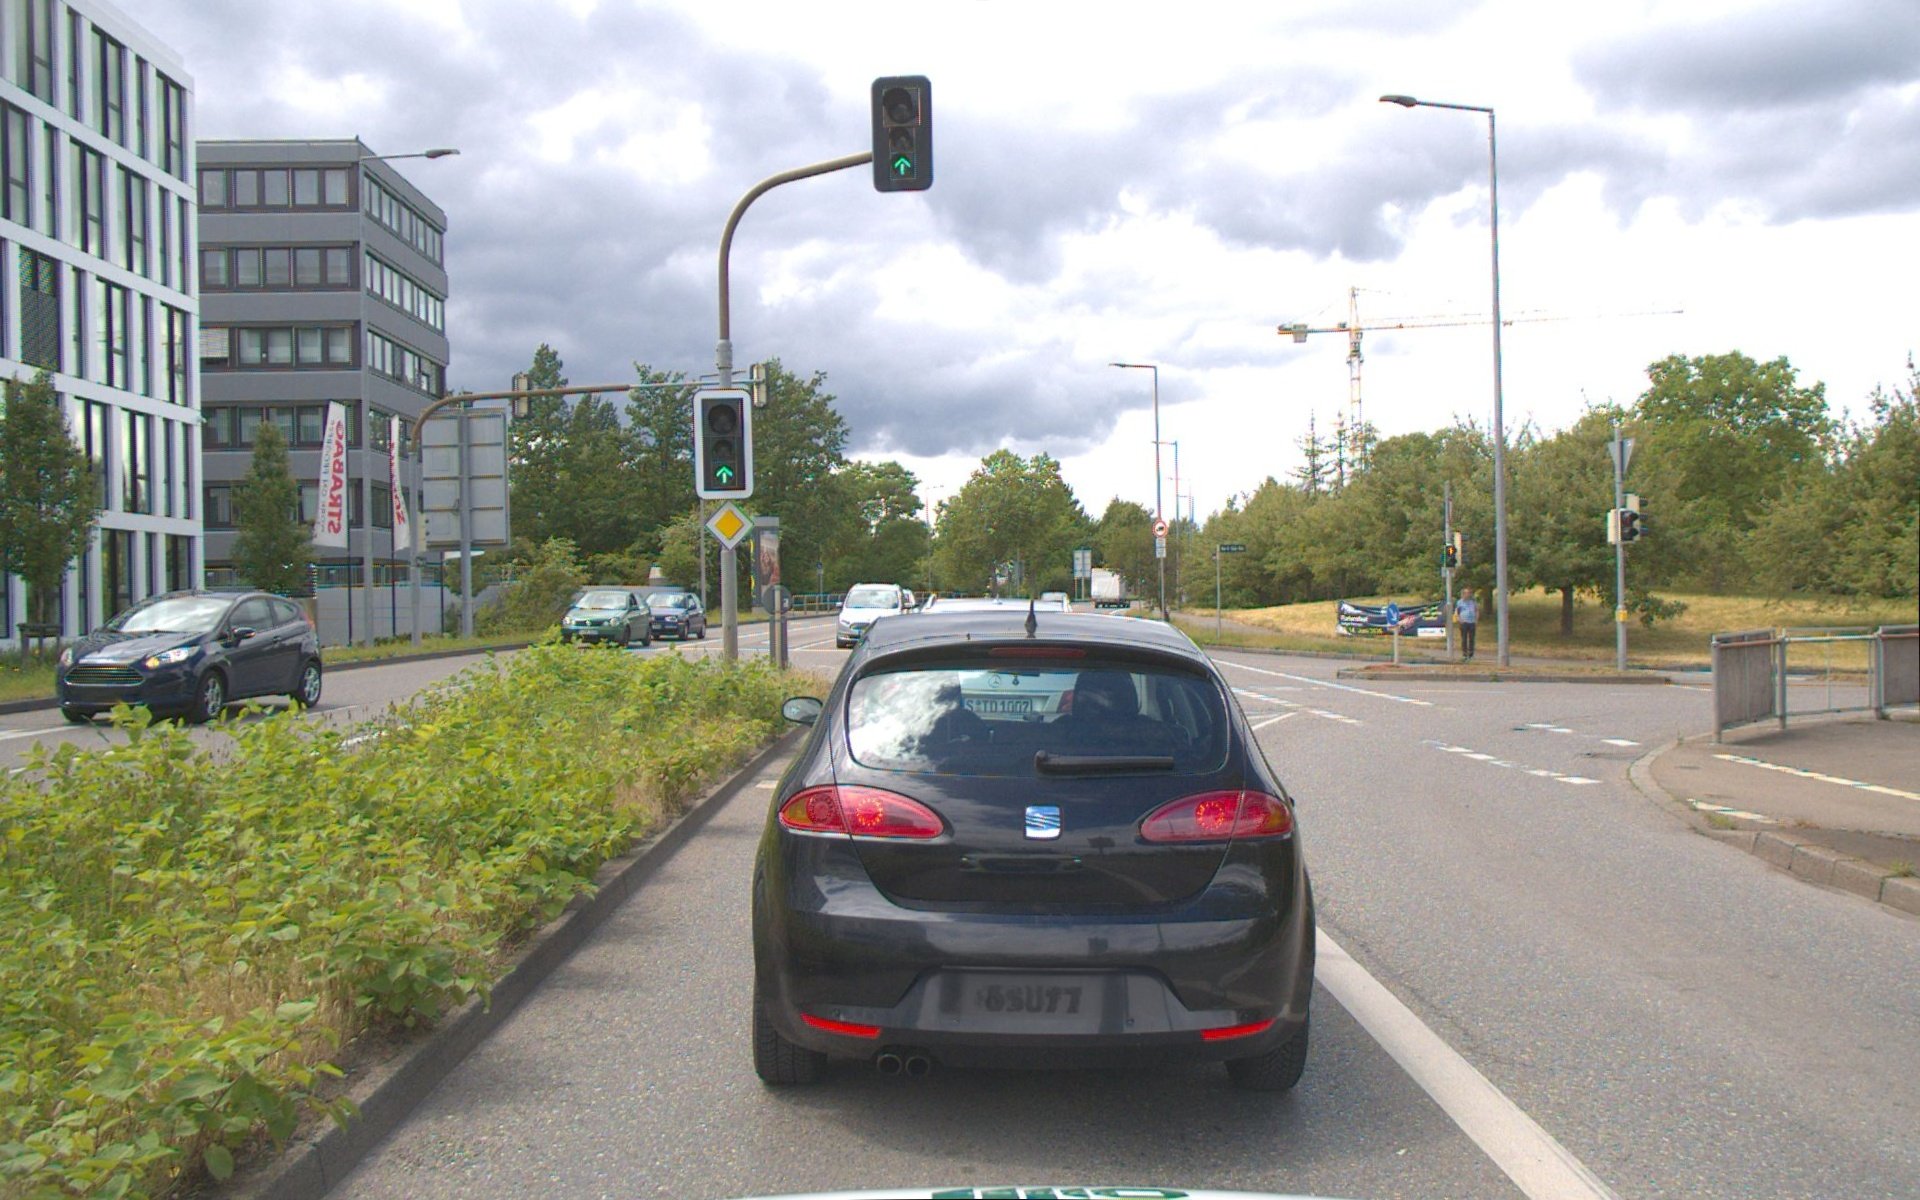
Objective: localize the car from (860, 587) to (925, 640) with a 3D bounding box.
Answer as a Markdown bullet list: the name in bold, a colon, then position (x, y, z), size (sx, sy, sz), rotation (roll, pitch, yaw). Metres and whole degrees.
- **car**: position (-2.074, 0.384, 51.763), size (1.625, 1.545, 4.086), rotation (1, 1, 3)

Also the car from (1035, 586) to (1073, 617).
- **car**: position (4.977, 0.040, 87.625), size (1.952, 1.593, 4.472), rotation (0, 0, 3)

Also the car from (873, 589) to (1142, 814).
- **car**: position (0.337, 0.698, 13.099), size (1.797, 1.493, 3.751), rotation (1, 0, 0)

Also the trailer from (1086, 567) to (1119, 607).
- **trailer**: position (11.438, -1.015, 132.520), size (2.438, 3.127, 5.590), rotation (1, 0, 6)

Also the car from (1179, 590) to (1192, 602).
- **car**: position (31.285, -0.571, 229.310), size (1.631, 1.624, 4.003), rotation (1, 0, 9)

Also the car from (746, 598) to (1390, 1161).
- **car**: position (0.266, 0.734, 6.072), size (1.676, 1.442, 3.459), rotation (1, 0, -1)

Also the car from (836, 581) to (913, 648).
- **car**: position (-2.301, 0.357, 45.723), size (1.783, 1.716, 4.646), rotation (1, 1, 1)

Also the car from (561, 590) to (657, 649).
- **car**: position (-9.031, 0.474, 42.822), size (1.572, 1.457, 3.753), rotation (0, 0, 1)

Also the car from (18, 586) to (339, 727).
- **car**: position (-9.080, 0.607, 19.603), size (1.717, 1.471, 3.894), rotation (1, 0, 4)

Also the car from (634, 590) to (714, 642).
- **car**: position (-8.539, 0.449, 49.645), size (1.521, 1.444, 3.897), rotation (1, 1, 3)

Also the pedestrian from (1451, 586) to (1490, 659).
- **pedestrian**: position (13.067, 0.573, 42.368), size (0.703, 1.824, 1.044), rotation (1, 0, 3)
